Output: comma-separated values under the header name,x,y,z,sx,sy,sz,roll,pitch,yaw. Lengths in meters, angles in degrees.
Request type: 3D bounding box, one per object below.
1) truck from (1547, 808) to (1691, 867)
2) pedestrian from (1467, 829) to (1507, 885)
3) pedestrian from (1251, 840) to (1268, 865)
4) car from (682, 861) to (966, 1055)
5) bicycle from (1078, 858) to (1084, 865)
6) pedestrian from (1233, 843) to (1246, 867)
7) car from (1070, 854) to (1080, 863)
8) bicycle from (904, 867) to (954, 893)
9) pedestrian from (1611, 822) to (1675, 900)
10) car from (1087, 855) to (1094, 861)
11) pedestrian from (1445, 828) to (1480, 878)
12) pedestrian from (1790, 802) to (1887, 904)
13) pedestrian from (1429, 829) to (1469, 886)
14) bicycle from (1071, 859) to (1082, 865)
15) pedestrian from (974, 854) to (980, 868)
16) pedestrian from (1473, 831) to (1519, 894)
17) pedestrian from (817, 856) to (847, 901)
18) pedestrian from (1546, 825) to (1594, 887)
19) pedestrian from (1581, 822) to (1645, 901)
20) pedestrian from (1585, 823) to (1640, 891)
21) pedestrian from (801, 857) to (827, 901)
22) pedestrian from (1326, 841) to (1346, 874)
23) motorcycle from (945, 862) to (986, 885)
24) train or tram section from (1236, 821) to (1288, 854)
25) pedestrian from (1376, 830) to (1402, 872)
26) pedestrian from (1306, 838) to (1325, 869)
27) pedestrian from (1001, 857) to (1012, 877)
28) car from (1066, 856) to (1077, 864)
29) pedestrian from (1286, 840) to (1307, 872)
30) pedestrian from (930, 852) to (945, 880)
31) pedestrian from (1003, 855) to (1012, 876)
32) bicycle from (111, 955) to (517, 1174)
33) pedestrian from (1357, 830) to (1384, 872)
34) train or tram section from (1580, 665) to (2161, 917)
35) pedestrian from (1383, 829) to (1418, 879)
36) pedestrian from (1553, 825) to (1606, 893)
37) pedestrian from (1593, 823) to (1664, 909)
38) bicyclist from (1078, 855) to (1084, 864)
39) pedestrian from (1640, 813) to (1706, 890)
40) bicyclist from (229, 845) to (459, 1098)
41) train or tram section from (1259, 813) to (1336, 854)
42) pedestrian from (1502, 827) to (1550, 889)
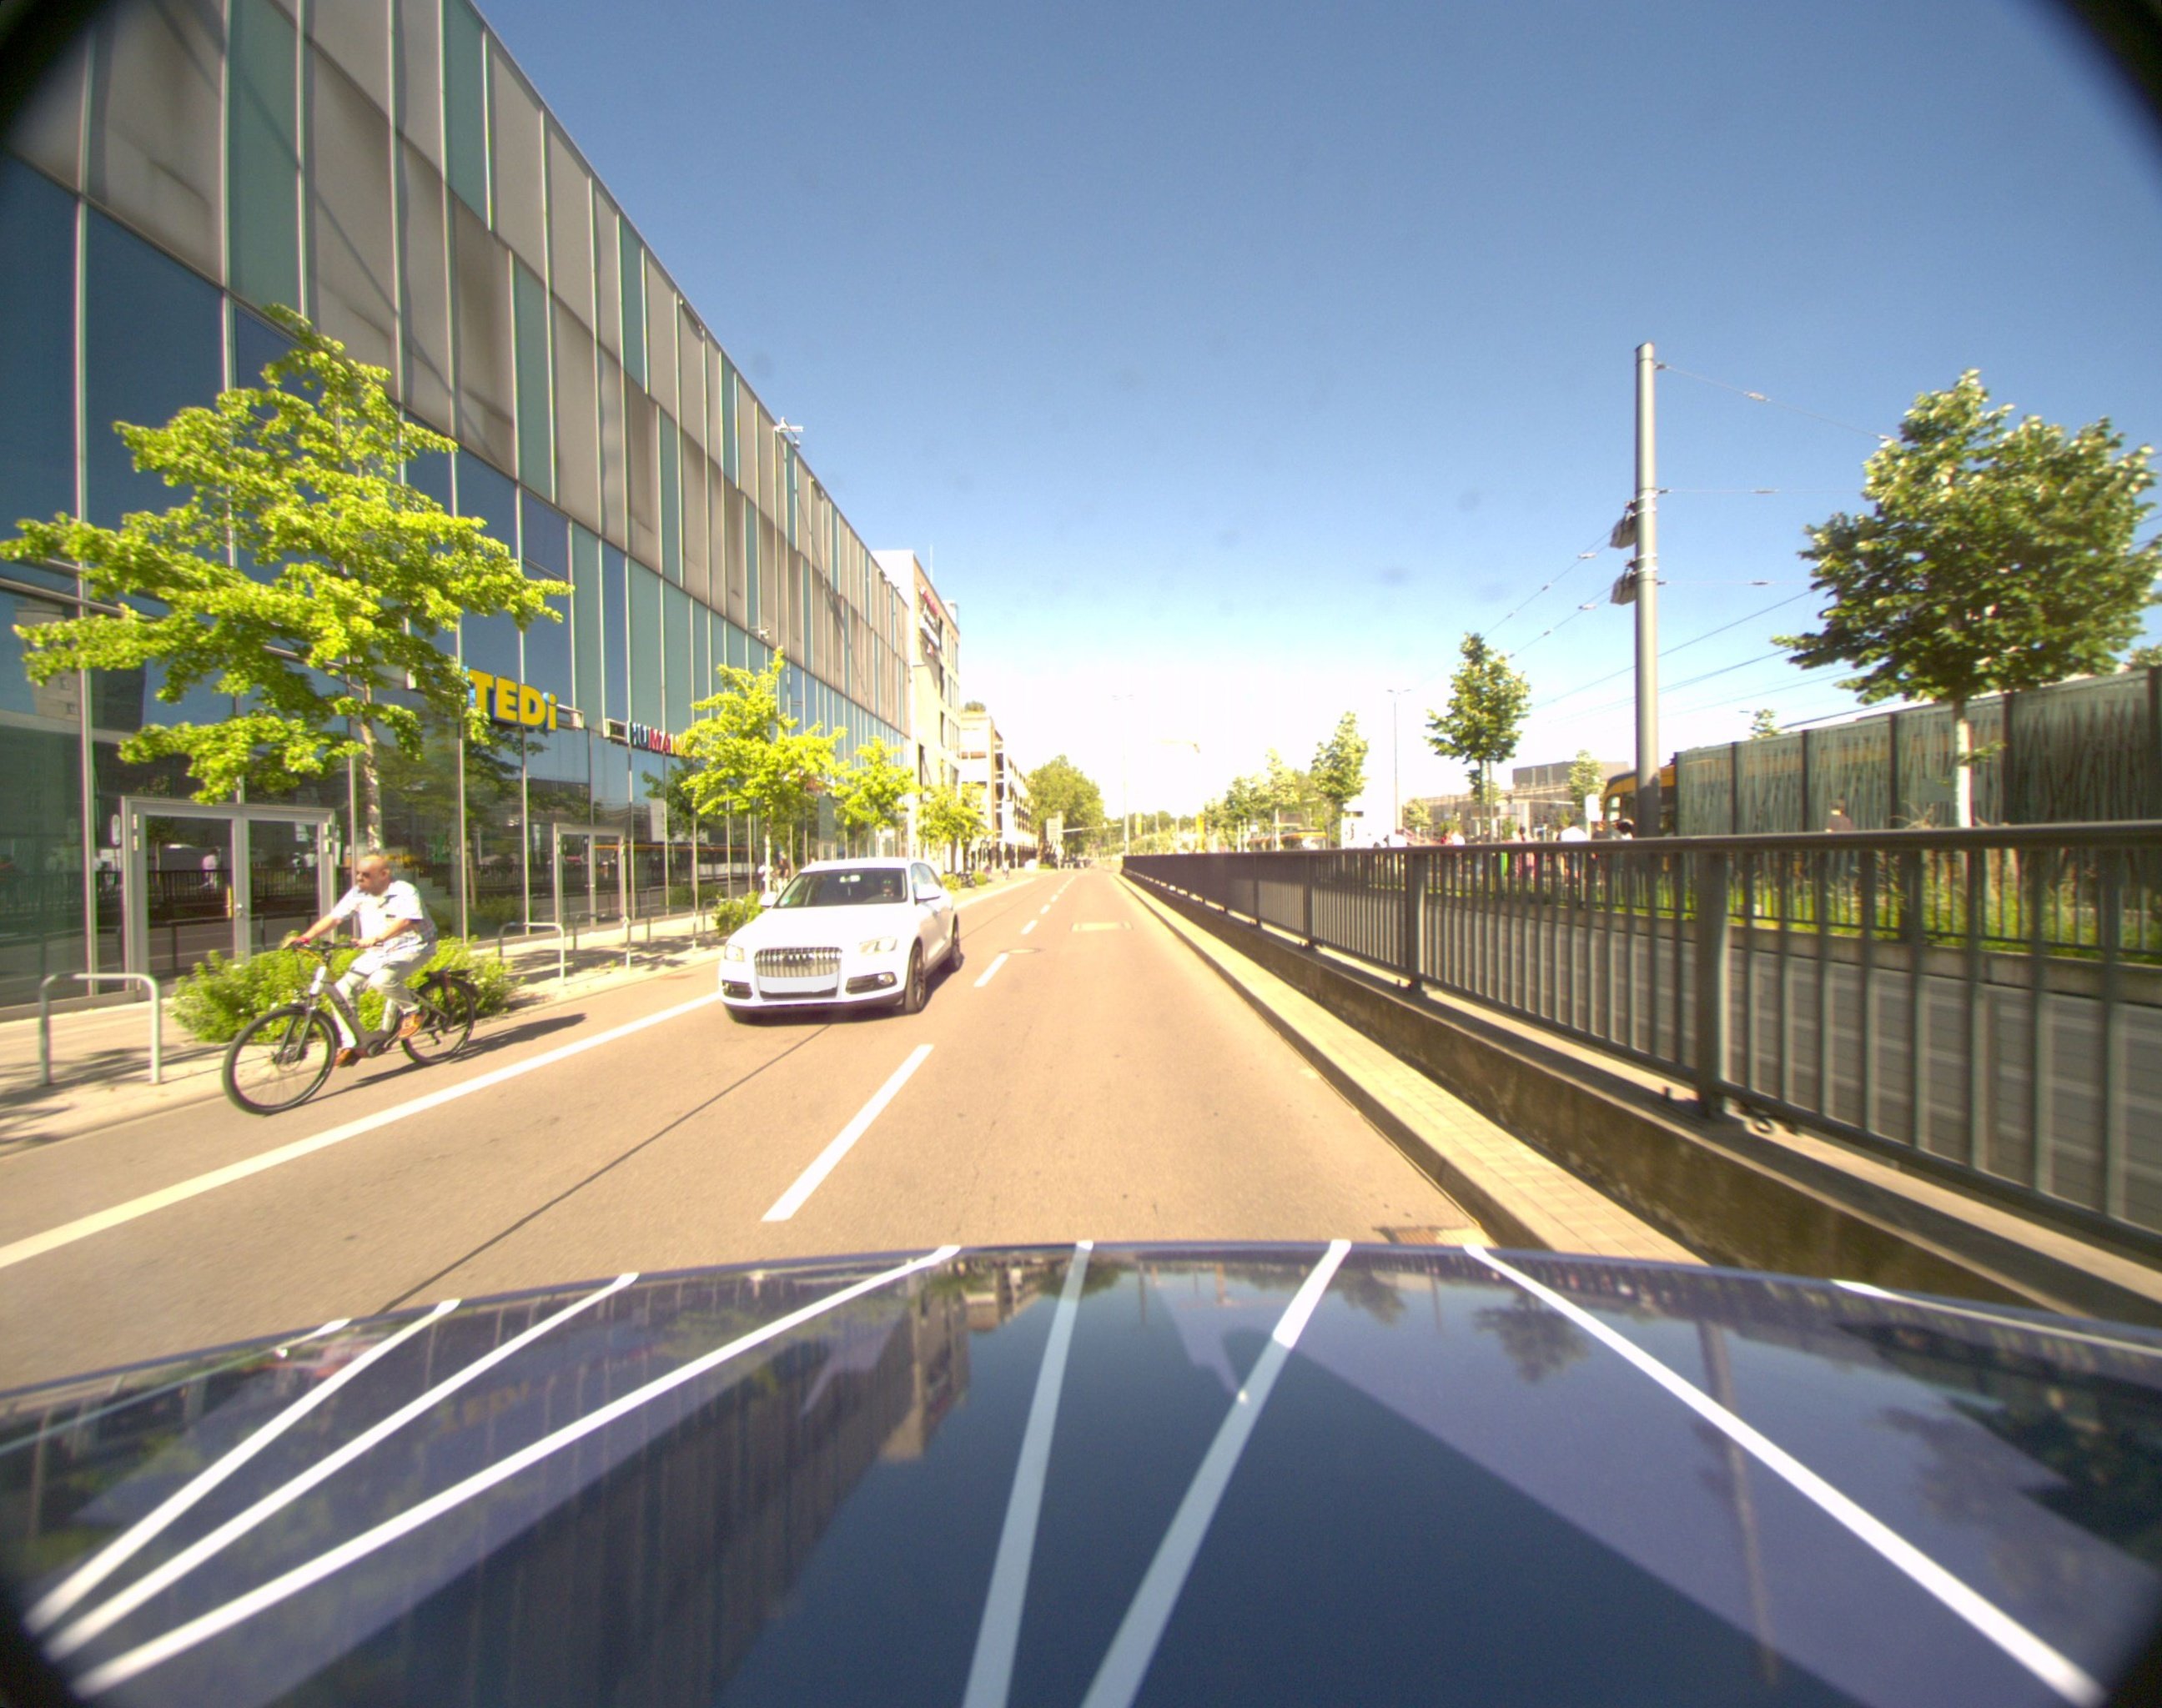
name,x,y,z,sx,sy,sz,roll,pitch,yaw
truck,30.787,-0.867,44.022,2.725,2.952,7.953,-3,0,1
pedestrian,12.201,0.091,22.871,0.743,1.619,0.861,-1,1,2
pedestrian,12.951,-0.077,55.175,0.876,1.764,1.189,-3,0,-2
car,-2.624,0.950,8.996,1.824,1.604,4.412,-3,0,-1
bicycle,0.041,1.258,123.265,0.844,1.123,2.553,-1,0,2
pedestrian,12.104,0.064,58.150,0.705,1.764,0.959,-3,0,-2
car,-1.198,0.865,149.914,1.752,1.810,4.337,0,0,1
bicycle,-7.168,1.211,35.835,2.089,1.198,0.951,0,1,8
pedestrian,12.031,0.145,16.297,0.743,1.619,0.861,-1,1,2
car,2.662,1.138,223.870,1.998,1.597,3.896,-1,0,0
pedestrian,12.974,-0.037,25.879,0.743,1.684,0.861,-1,1,2
pedestrian,12.531,-0.015,12.599,0.743,1.619,0.861,-1,1,2
pedestrian,10.865,0.096,22.454,0.743,1.619,0.861,-1,1,2
bicycle,-0.801,1.334,129.729,1.848,0.954,0.711,1,0,-3
pedestrian,-11.629,0.770,84.797,0.662,1.603,0.526,1,1,-7
pedestrian,10.931,0.223,20.051,0.743,1.619,0.861,-1,1,2
pedestrian,-9.404,0.902,28.712,0.823,1.648,0.900,-1,1,-3
pedestrian,13.318,0.051,20.705,0.743,1.619,0.861,-1,1,2
pedestrian,11.240,0.149,16.068,0.743,1.619,0.861,-1,1,2
pedestrian,13.103,0.078,18.748,0.743,1.619,0.861,-1,1,2
pedestrian,-10.242,0.936,29.158,0.708,1.648,0.900,1,1,-3
pedestrian,12.195,0.172,36.362,0.649,1.503,0.588,-3,0,-2
motorcycle,-6.787,1.164,44.680,2.193,1.316,0.903,0,1,5
train or tram section,20.185,-1.745,85.717,2.877,3.290,13.073,-3,0,1
pedestrian,13.299,-0.131,32.855,0.673,1.800,1.075,-1,1,0
pedestrian,13.773,-0.017,44.709,0.763,1.764,0.826,-3,0,-2
pedestrian,-6.095,1.035,62.256,0.725,1.598,0.750,-1,0,2
car,-1.758,1.139,137.892,1.752,1.481,4.560,0,0,1
pedestrian,12.236,0.096,43.122,0.793,1.764,0.979,-3,0,-2
pedestrian,-9.194,0.747,48.843,0.729,1.791,1.066,1,1,1
pedestrian,-6.230,0.964,64.127,0.658,1.692,0.698,1,0,-1
bicycle,-5.474,1.418,5.734,0.730,0.978,2.332,-1,0,-2
pedestrian,12.519,-0.125,32.921,0.771,1.800,1.031,-1,1,0
train or tram section,15.537,-0.881,13.978,2.877,3.260,15.185,-3,0,1
pedestrian,12.165,0.002,28.989,0.889,1.840,1.007,-1,1,1
pedestrian,12.249,0.119,18.699,0.743,1.619,0.861,-1,1,2
pedestrian,10.653,0.227,14.809,0.743,1.619,0.861,-1,1,2
bicyclist,0.041,0.878,123.266,0.830,1.380,0.904,-1,0,2
pedestrian,12.734,-0.053,16.367,0.743,1.619,0.861,-1,1,2
bicyclist,-5.478,0.807,5.729,0.727,1.727,0.997,-1,1,-2
train or tram section,19.878,-1.753,71.196,2.855,3.302,15.966,-3,0,1
pedestrian,12.075,0.111,20.630,0.743,1.619,0.947,-1,1,2
